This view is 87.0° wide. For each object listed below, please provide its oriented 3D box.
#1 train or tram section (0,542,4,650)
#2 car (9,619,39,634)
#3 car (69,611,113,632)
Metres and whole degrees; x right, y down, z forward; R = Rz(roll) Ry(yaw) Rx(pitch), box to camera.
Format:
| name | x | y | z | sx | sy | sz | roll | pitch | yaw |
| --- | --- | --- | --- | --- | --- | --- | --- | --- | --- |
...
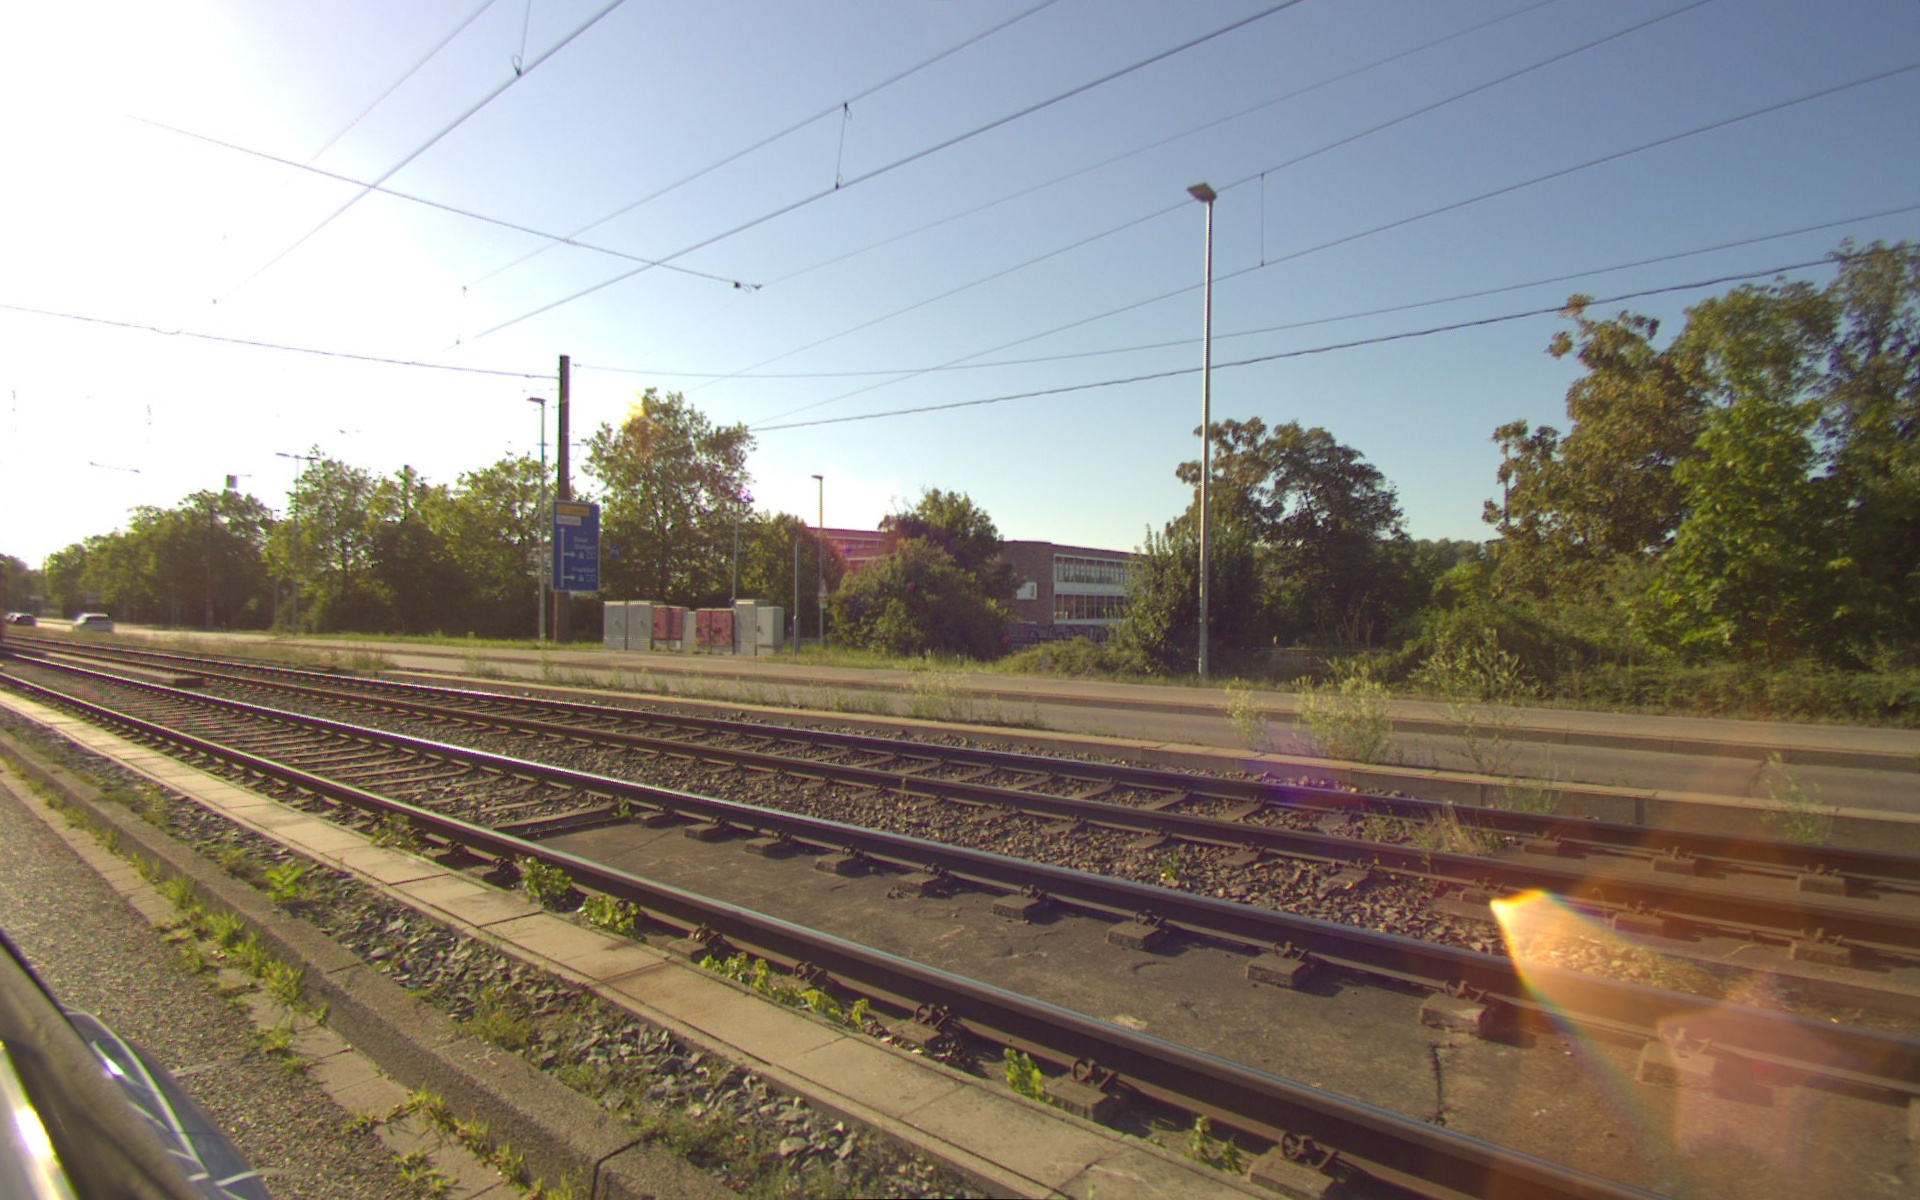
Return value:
| name | x | y | z | sx | sy | sz | roll | pitch | yaw |
| --- | --- | --- | --- | --- | --- | --- | --- | --- | --- |
| train or tram section | -40.193 | -0.076 | 39.858 | 11.665 | 3.930 | 2.536 | -1 | -1 | 41 |
| car | -92.668 | 2.646 | 100.198 | 3.998 | 1.363 | 1.778 | 0 | 1 | 41 |
| car | -59.578 | 1.457 | 69.383 | 3.998 | 1.363 | 1.778 | 0 | 1 | 41 |
